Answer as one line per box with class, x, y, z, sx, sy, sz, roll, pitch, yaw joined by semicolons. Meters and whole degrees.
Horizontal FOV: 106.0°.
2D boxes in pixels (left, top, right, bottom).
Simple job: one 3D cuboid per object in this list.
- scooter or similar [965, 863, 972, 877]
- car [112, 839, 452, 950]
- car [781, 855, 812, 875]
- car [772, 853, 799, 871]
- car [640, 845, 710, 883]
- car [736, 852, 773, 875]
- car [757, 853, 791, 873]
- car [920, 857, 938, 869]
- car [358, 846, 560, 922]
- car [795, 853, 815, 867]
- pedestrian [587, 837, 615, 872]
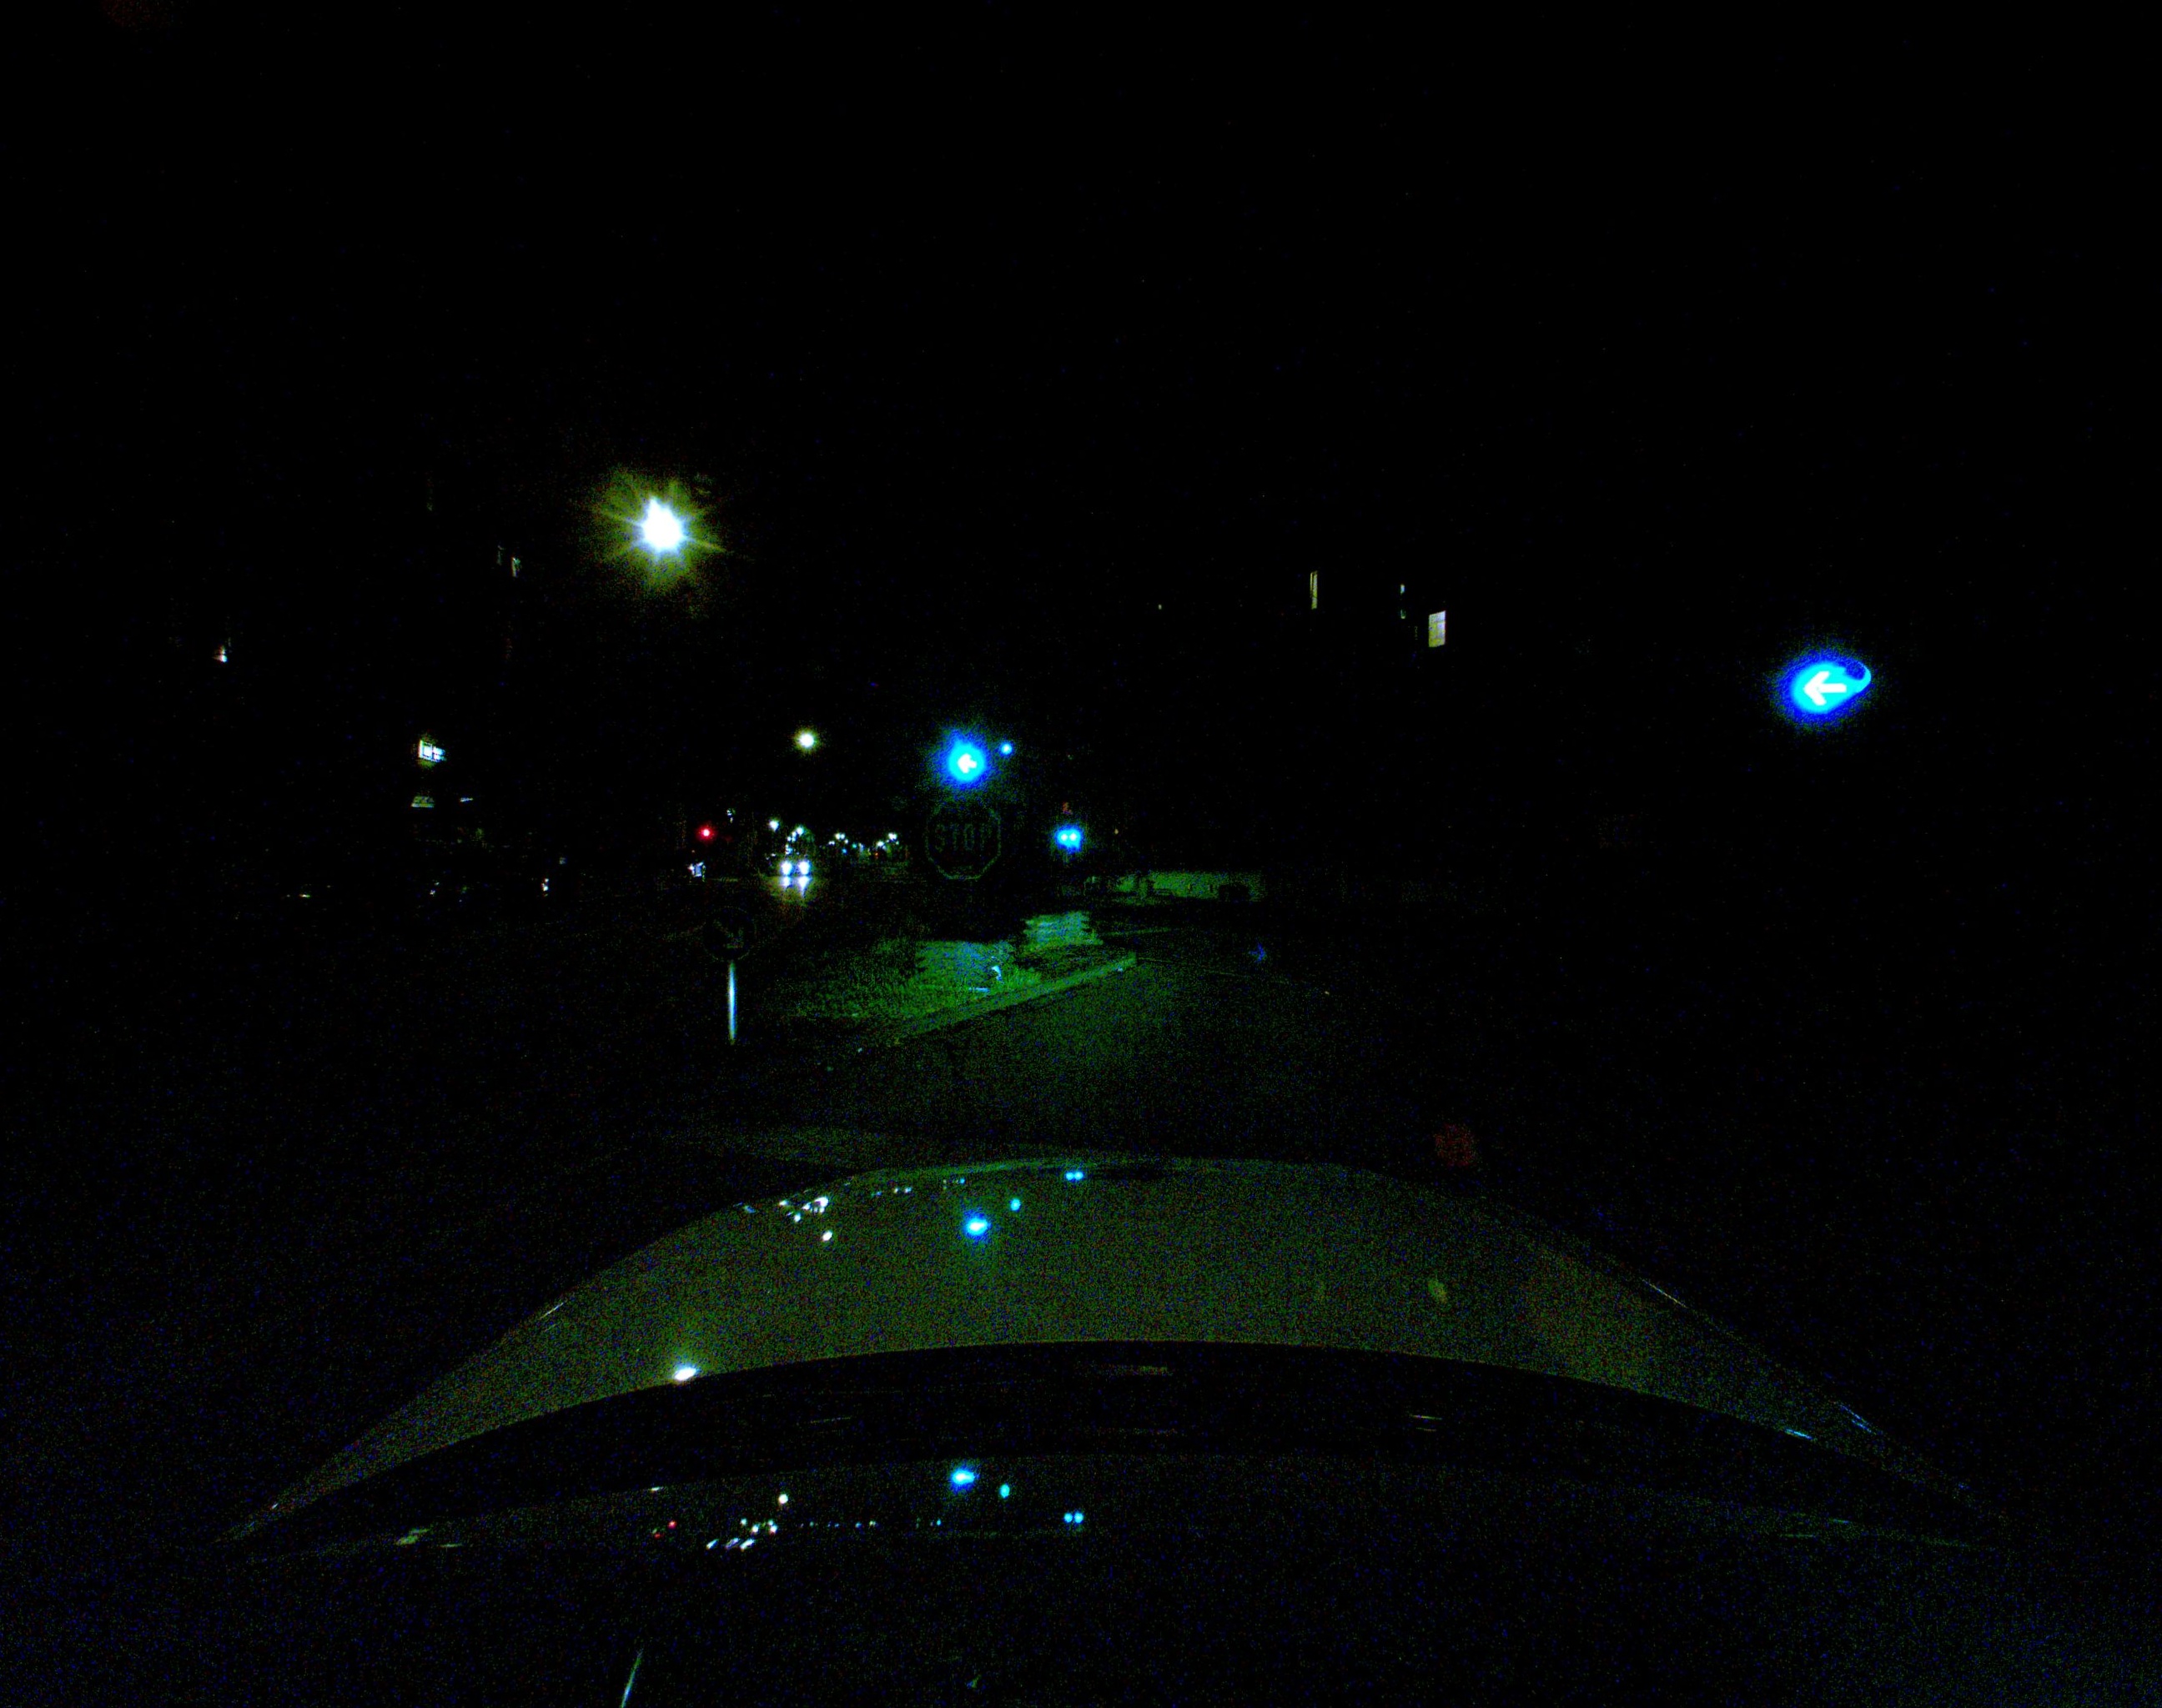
scooter or similar;-9.560;1.371;69.242;0.421;1.130;1.490;1;0;-5
car;-12.648;0.590;13.409;1.863;1.479;4.453;2;-1;-13
car;-20.786;0.779;59.641;1.717;1.429;3.983;0;0;-13
car;-26.541;0.694;73.160;1.787;1.491;3.980;4;-1;-14
car;-19.184;0.464;38.659;1.887;1.596;4.008;3;-1;-11
car;-23.656;0.692;59.063;1.592;1.491;3.688;4;-1;-8
car;-25.402;0.707;67.454;1.785;1.491;4.313;4;-1;-11
car;-19.683;1.133;105.091;1.738;1.460;4.700;2;-1;-17
car;-13.737;0.624;18.380;1.863;1.433;4.423;3;-1;-13
car;-31.535;0.675;93.224;1.787;1.416;4.106;3;-1;-15
pedestrian;-23.771;0.039;40.323;0.708;1.690;1.123;1;-1;-3
